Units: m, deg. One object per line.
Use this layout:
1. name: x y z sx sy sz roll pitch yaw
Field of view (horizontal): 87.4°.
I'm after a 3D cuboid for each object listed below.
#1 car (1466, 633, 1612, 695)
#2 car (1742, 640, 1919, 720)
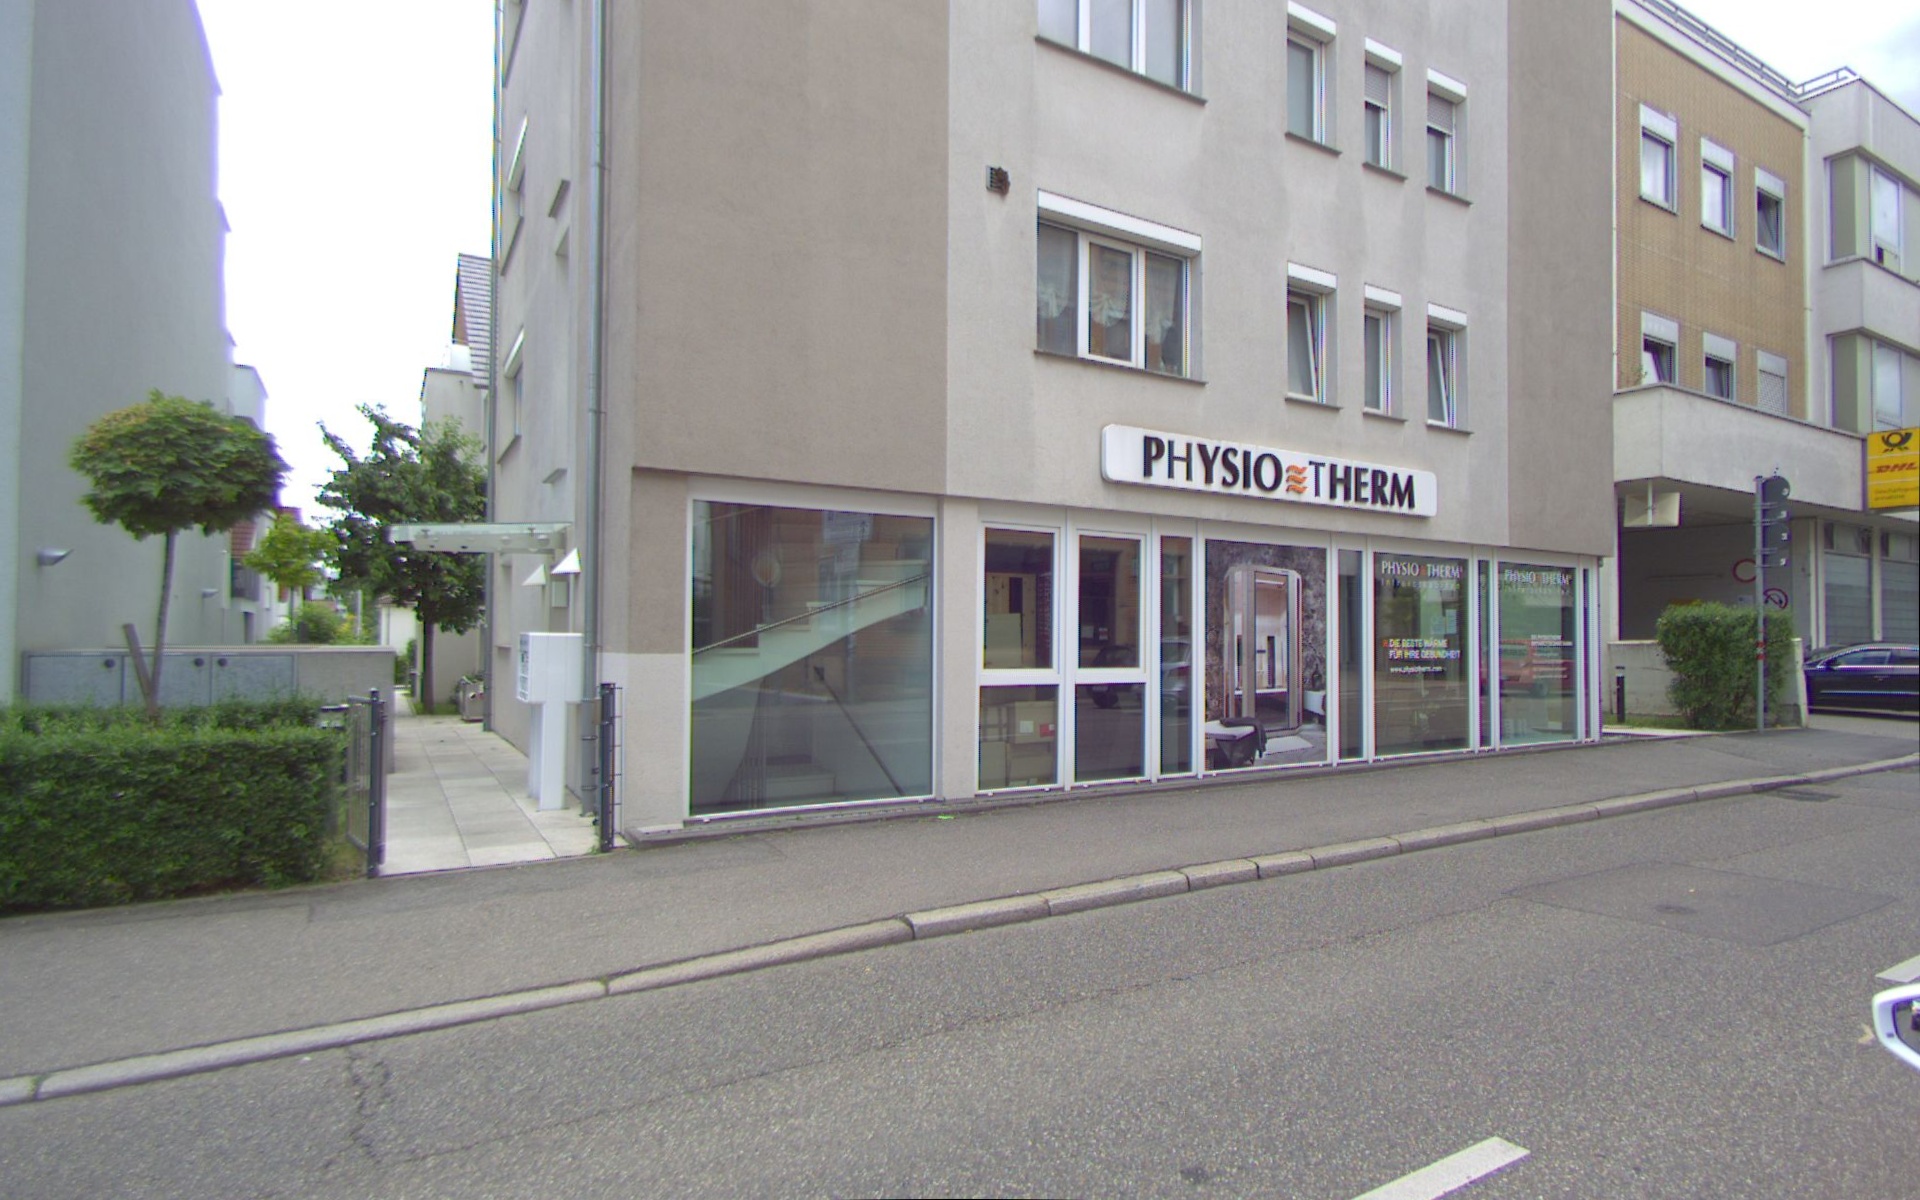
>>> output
1. car: 15.176 1.643 26.308 3.647 1.476 1.745 2 -1 -30
2. car: 17.617 1.483 18.920 4.335 1.384 1.782 -1 -2 31
